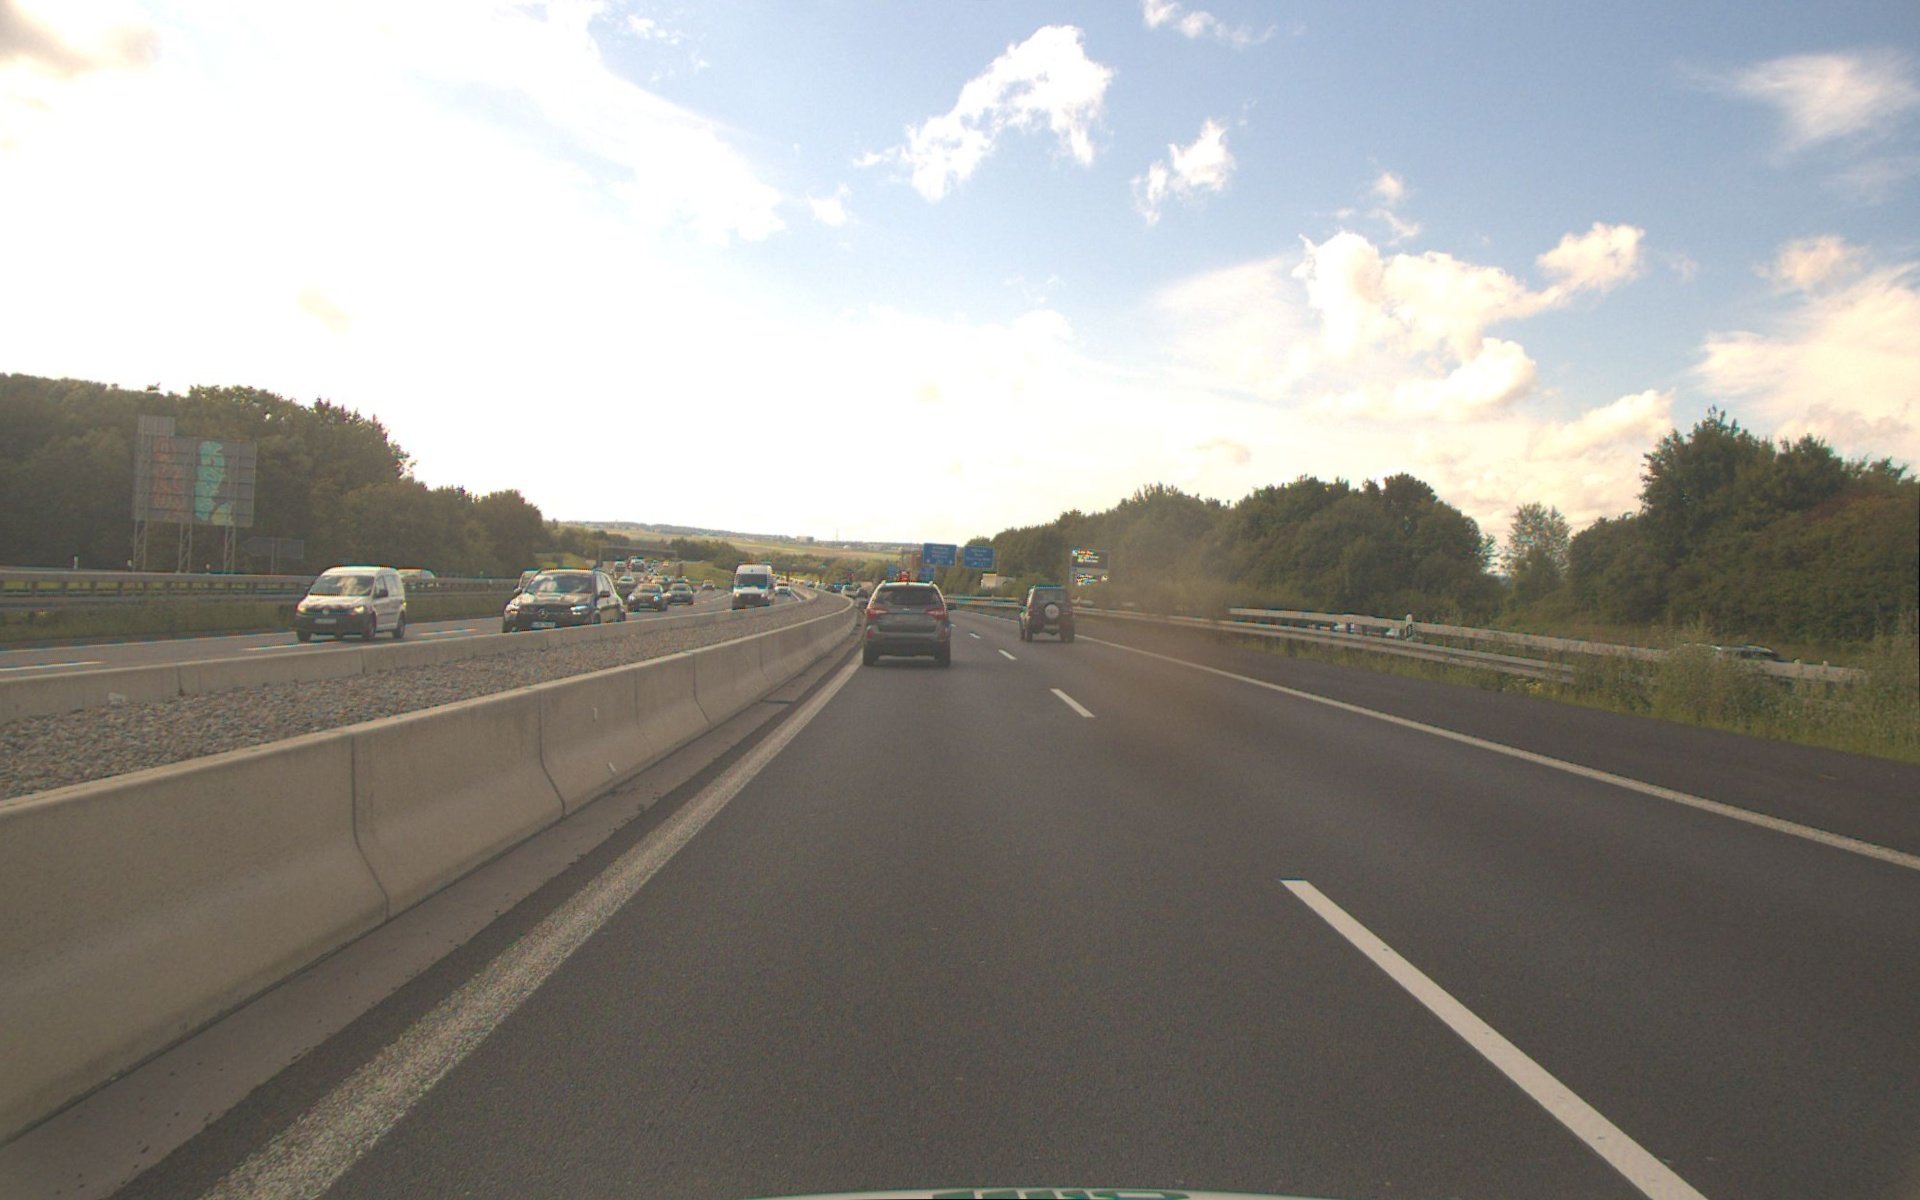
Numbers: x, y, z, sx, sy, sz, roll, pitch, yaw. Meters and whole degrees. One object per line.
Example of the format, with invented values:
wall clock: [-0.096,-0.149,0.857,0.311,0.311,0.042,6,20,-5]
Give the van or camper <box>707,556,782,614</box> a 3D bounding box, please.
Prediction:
van or camper: [-11.786,-0.824,91.032,3.268,2.967,7.464,2,0,-2]

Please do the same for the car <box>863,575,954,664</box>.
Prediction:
car: [-1.136,0.419,35.912,1.781,1.766,5.184,1,-1,-2]

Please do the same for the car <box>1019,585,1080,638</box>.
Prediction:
car: [2.873,0.342,53.734,1.555,1.625,4.094,2,0,-2]

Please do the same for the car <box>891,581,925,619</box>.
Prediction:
car: [-3.103,0.016,98.917,1.989,2.189,3.999,1,0,-2]

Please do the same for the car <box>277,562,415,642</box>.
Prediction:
car: [-15.216,0.037,41.252,1.953,1.846,4.239,1,0,-2]

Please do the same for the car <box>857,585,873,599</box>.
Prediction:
car: [-14.406,-1.209,250.963,1.957,1.963,3.991,2,-1,-9]

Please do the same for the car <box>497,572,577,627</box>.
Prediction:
car: [-15.611,-0.037,61.271,1.876,1.939,5.283,1,0,-4]

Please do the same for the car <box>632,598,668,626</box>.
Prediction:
car: [-17.353,0.641,92.839,1.751,1.442,4.987,1,0,-8]

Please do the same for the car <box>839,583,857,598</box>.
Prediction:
car: [-14.167,-1.144,208.985,1.956,1.713,3.993,2,-1,-7]

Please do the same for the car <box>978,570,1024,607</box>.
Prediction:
car: [5.141,-1.380,211.986,4.636,4.341,11.391,1,-1,-5]

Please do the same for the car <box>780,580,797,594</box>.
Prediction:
car: [-20.330,-1.550,196.119,1.806,1.639,5.132,1,0,-4]

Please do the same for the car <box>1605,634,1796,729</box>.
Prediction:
car: [14.239,1.527,32.052,1.748,1.599,4.023,2,0,-2]

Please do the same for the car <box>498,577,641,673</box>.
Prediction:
car: [-8.659,0.508,37.159,1.953,1.953,5.148,2,0,0]

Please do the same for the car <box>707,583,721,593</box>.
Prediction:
car: [-34.864,-1.718,234.122,1.595,1.316,4.750,2,0,-5]

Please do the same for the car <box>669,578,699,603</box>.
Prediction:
car: [-19.439,-0.672,116.516,1.692,1.729,4.148,1,0,-5]
